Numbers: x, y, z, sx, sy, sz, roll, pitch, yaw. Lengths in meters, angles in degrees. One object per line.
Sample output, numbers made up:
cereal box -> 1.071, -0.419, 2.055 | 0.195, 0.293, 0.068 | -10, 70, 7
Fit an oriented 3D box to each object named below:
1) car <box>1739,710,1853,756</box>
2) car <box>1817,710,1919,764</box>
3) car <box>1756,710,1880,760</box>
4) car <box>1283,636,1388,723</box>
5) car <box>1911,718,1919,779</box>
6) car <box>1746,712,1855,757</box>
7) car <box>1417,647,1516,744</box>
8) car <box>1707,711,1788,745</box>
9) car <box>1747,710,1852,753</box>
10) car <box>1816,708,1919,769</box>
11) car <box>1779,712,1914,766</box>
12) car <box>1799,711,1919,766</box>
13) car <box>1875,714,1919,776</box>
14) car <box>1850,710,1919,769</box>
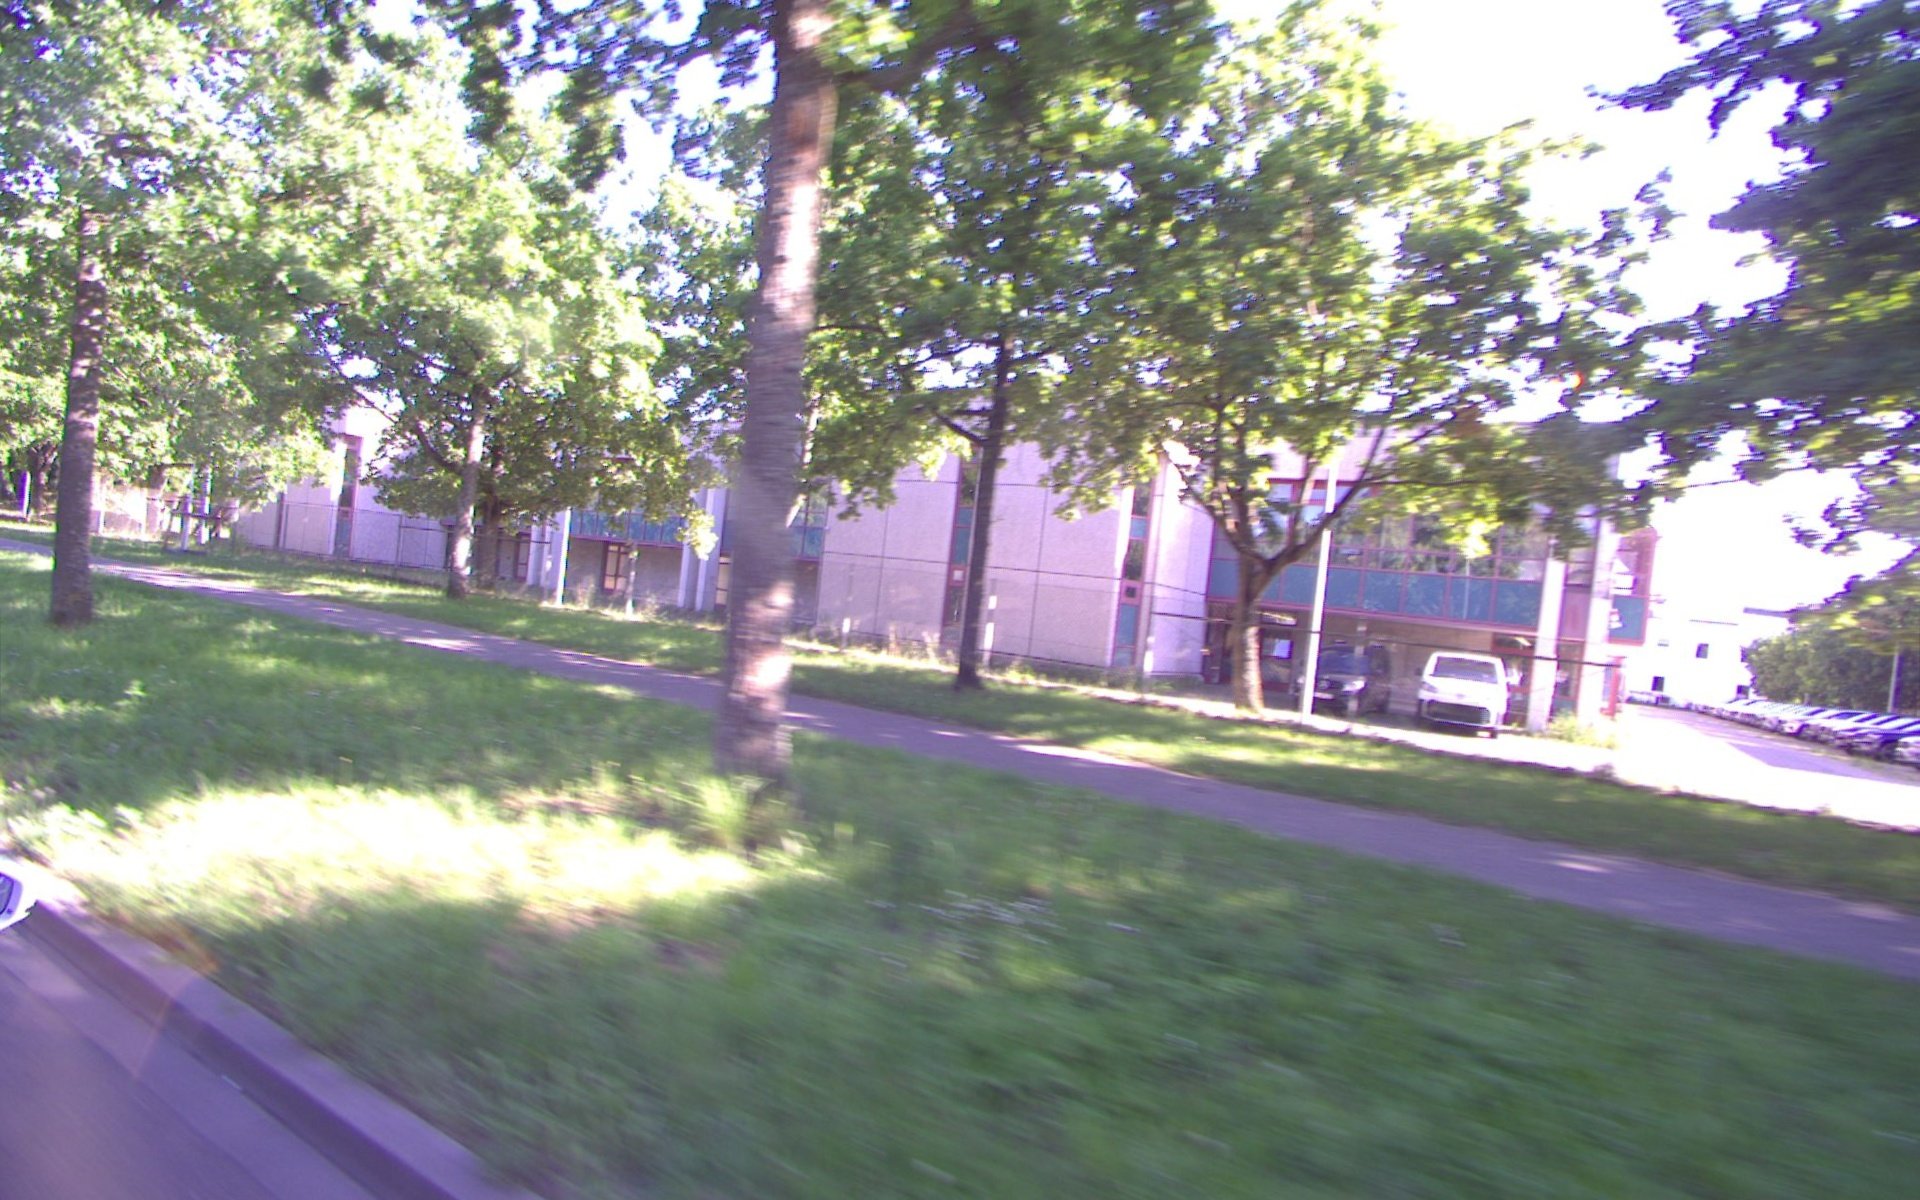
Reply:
car -> 43.128, 6.848, 52.036 | 4.280, 1.692, 1.738 | 6, -2, 37
car -> 37.778, 5.658, 40.857 | 4.280, 1.692, 1.738 | 6, -2, 37
car -> 41.294, 6.474, 48.567 | 4.280, 1.692, 1.738 | 6, -2, 37
car -> 10.230, 2.087, 27.165 | 1.965, 1.907, 4.958 | 7, 0, 27
car -> 28.639, 4.323, 26.689 | 4.648, 1.692, 1.702 | 6, -2, 37
car -> 45.367, 7.235, 54.404 | 4.280, 1.692, 1.738 | 6, -2, 37
car -> 12.863, 2.313, 25.639 | 1.862, 1.984, 5.072 | 7, 1, 27
car -> 55.217, 8.975, 70.669 | 4.280, 1.692, 1.738 | 6, -2, 37
car -> 46.966, 7.342, 56.371 | 4.280, 1.692, 1.738 | 6, -2, 37
car -> 33.231, 4.990, 35.088 | 4.881, 1.692, 1.738 | 6, -2, 38
car -> 39.792, 6.223, 45.320 | 4.280, 1.692, 1.738 | 6, -2, 37
car -> 38.972, 5.965, 43.222 | 4.280, 1.692, 1.738 | 6, -2, 37
car -> 29.713, 4.492, 28.757 | 4.891, 1.692, 1.739 | 6, -2, 34
car -> 32.127, 4.760, 32.884 | 4.280, 1.692, 1.738 | 6, -2, 37
